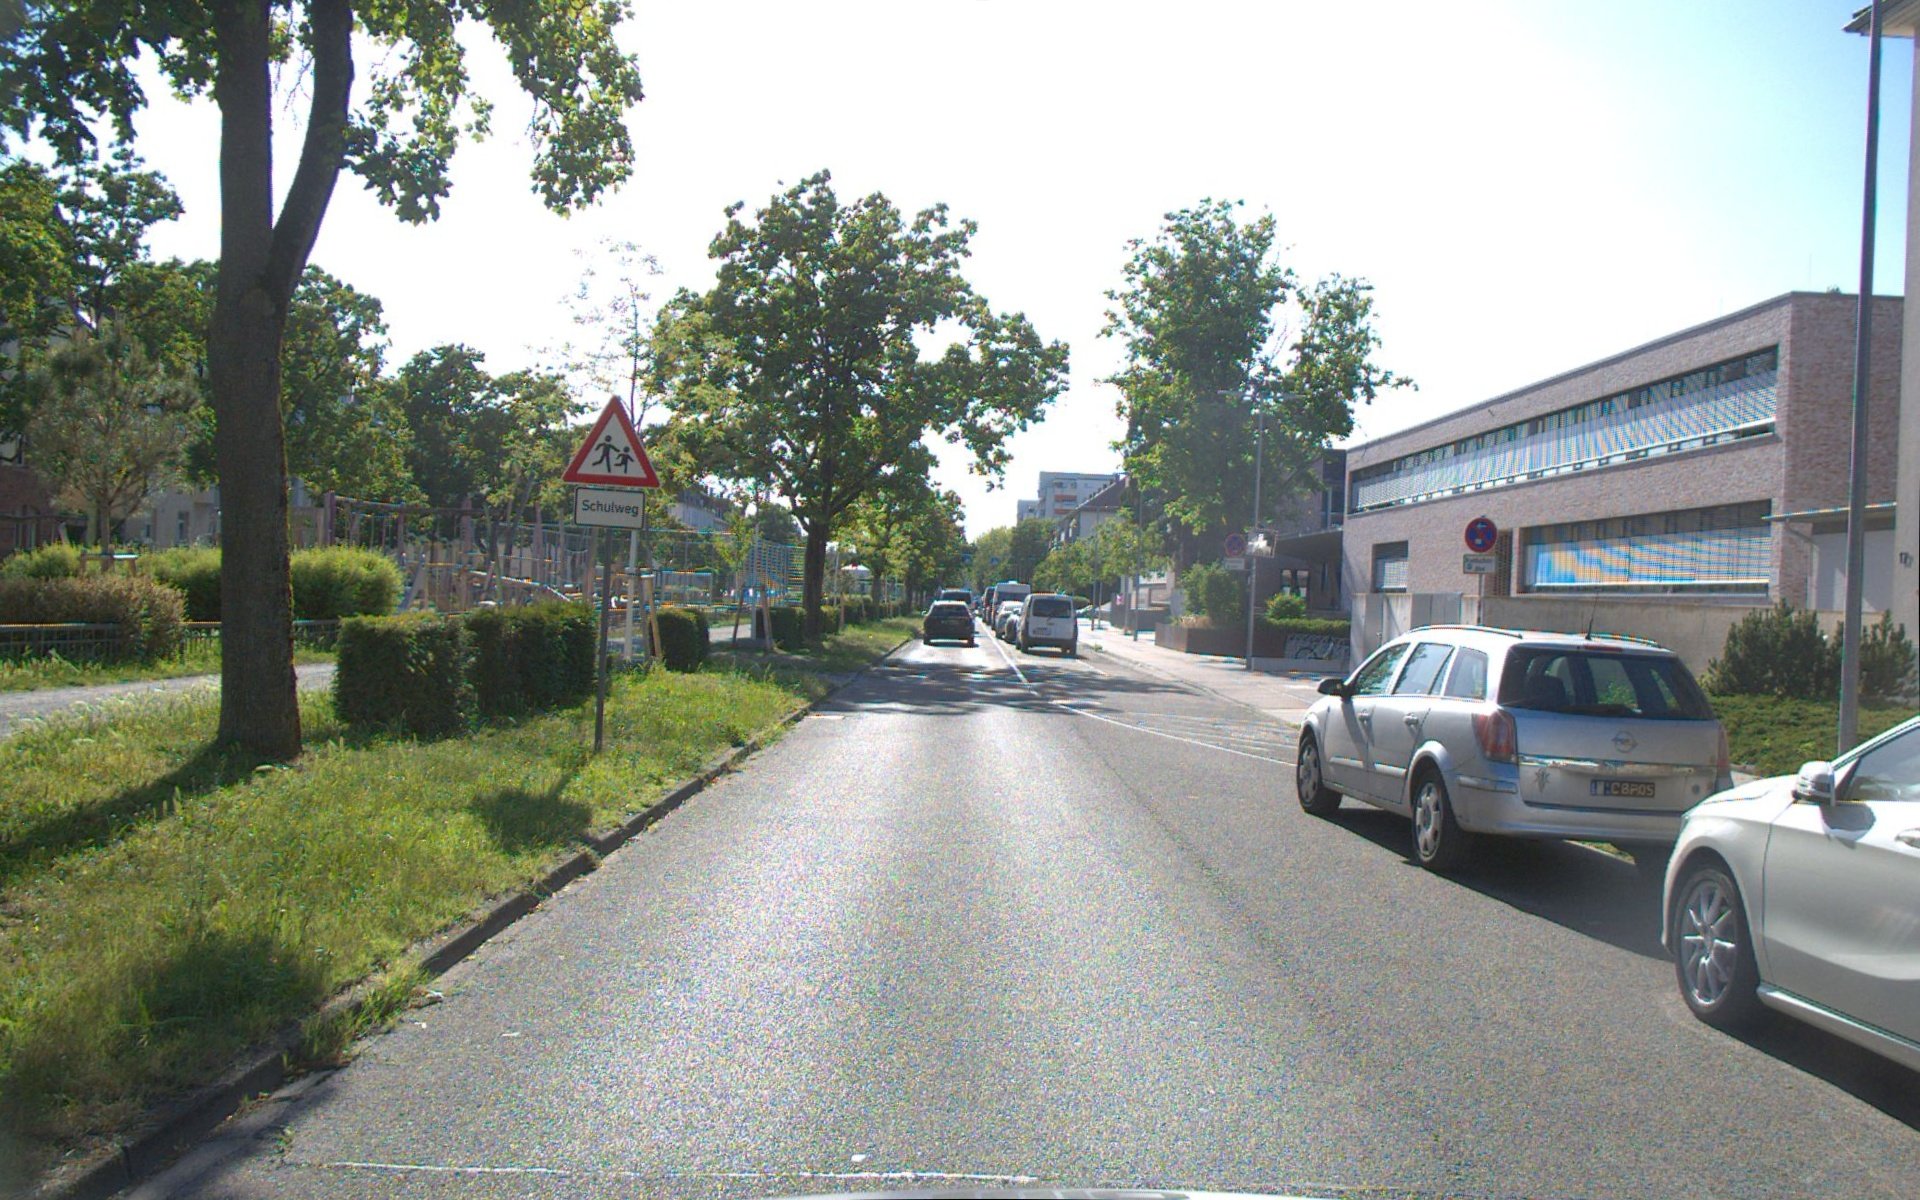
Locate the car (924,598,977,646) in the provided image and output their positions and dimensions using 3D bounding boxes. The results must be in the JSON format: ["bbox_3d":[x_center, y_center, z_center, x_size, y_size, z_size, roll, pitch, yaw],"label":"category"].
[{"bbox_3d":[-0.304,0.737,57.873,1.757,1.536,4.000,2,0,0],"label":"car"}]

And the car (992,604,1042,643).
[{"bbox_3d":[2.136,0.872,62.875,1.667,1.348,4.129,3,0,0],"label":"car"}]

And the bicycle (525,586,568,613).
[{"bbox_3d":[-18.431,-0.024,73.724,1.758,1.127,0.500,2,0,-2],"label":"bicycle"}]

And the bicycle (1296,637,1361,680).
[{"bbox_3d":[10.116,1.603,45.414,1.635,1.047,0.500,4,0,-2],"label":"bicycle"}]

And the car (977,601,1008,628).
[{"bbox_3d":[2.064,0.941,107.121,1.808,1.669,4.503,2,0,-1],"label":"car"}]

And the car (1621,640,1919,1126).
[{"bbox_3d":[3.878,0.959,5.265,1.758,1.445,4.288,4,0,0],"label":"car"}]

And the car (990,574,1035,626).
[{"bbox_3d":[2.819,0.012,89.648,2.195,2.619,5.432,3,0,0],"label":"car"}]

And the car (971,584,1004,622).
[{"bbox_3d":[1.963,0.214,119.486,2.072,2.559,6.530,2,0,-1],"label":"car"}]

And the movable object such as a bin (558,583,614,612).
[{"bbox_3d":[-17.000,-0.101,75.222,2.284,1.263,1.055,1,0,-4],"label":"movable object such as a bin"}]

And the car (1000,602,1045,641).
[{"bbox_3d":[2.591,0.871,69.237,1.666,1.504,4.173,3,0,0],"label":"car"}]

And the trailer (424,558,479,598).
[{"bbox_3d":[-38.626,-1.638,125.744,2.295,2.920,5.802,2,0,-1],"label":"trailer"}]

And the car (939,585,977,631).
[{"bbox_3d":[-0.096,0.391,81.708,1.757,2.159,4.000,2,0,0],"label":"car"}]

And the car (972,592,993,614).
[{"bbox_3d":[2.095,0.256,152.880,1.757,1.887,4.414,2,0,2],"label":"car"}]

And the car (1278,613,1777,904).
[{"bbox_3d":[3.627,0.913,11.502,1.627,1.490,4.408,4,0,-4],"label":"car"}]

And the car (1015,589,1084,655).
[{"bbox_3d":[2.818,0.666,52.902,1.771,1.941,4.460,3,0,-1],"label":"car"}]

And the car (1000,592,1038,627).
[{"bbox_3d":[2.866,0.450,81.171,1.587,1.616,3.590,2,0,-2],"label":"car"}]
